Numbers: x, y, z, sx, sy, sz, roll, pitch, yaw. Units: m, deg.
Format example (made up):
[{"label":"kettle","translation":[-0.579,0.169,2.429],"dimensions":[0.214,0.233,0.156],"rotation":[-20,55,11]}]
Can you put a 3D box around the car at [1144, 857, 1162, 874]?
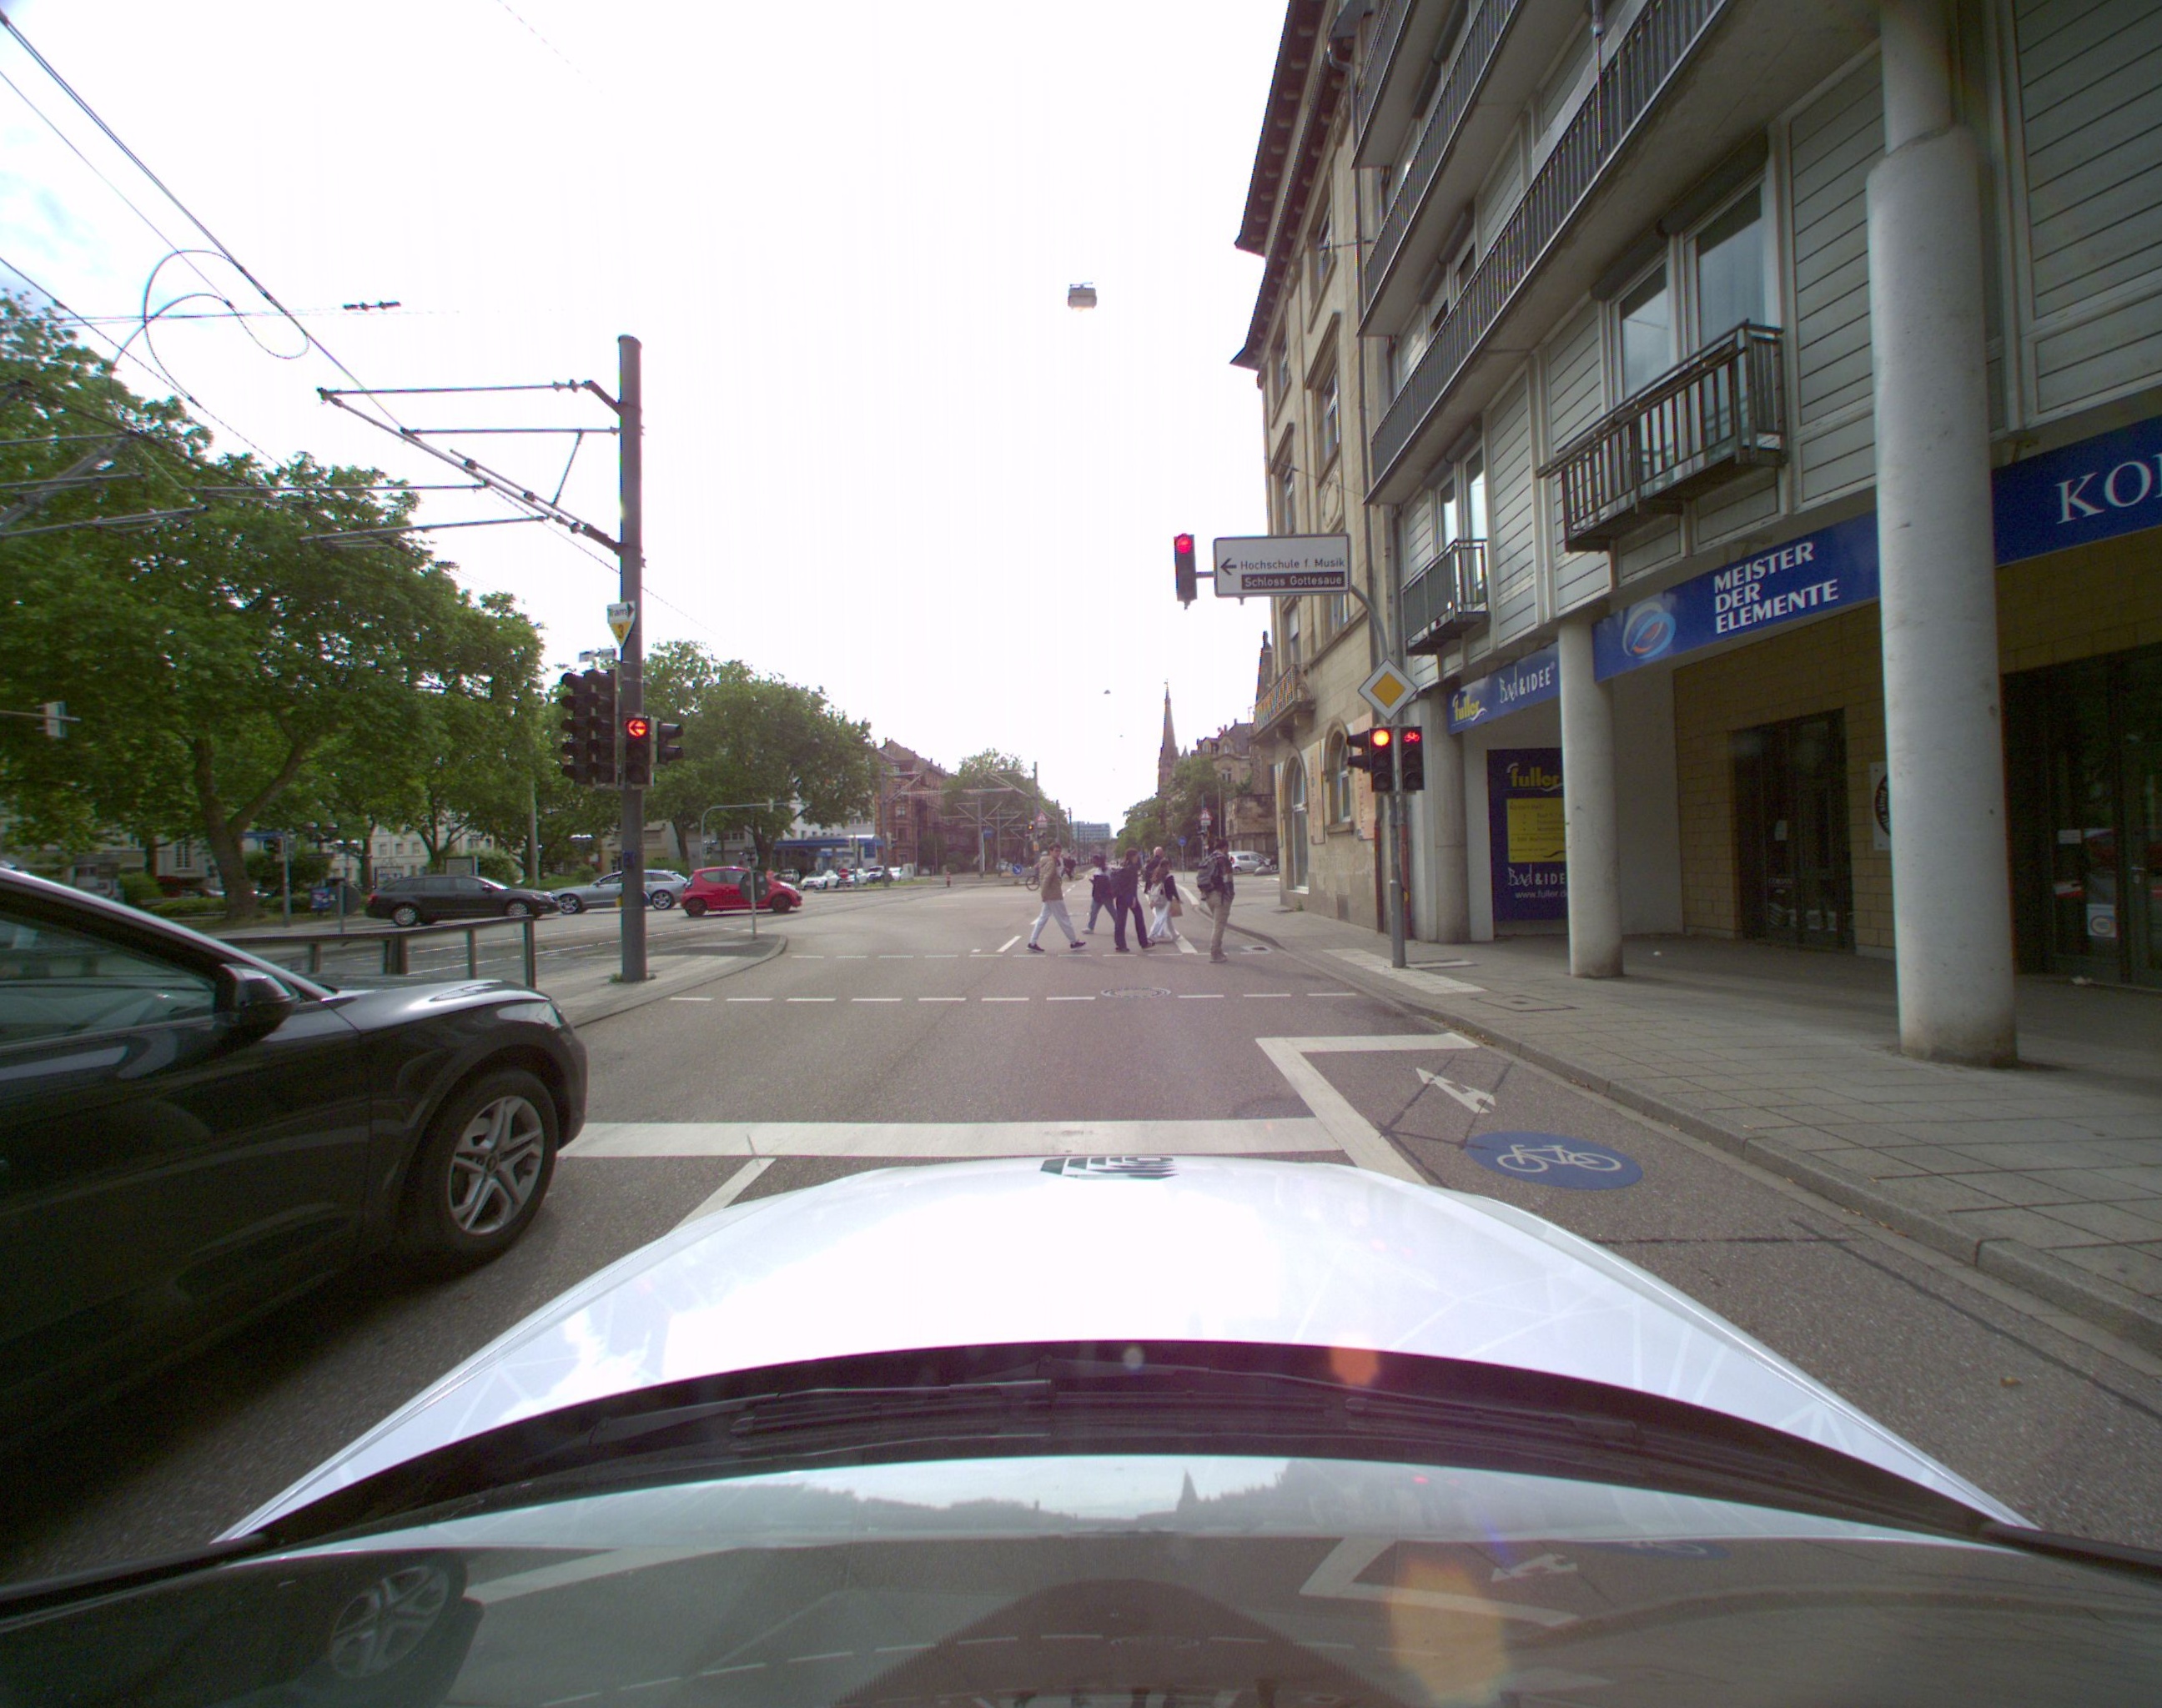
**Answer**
[{"label":"car","translation":[8.858,1.432,100.065],"dimensions":[1.986,2.014,4.001],"rotation":[0,-1,1]}]

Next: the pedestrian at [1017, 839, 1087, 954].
[{"label":"pedestrian","translation":[-0.482,0.677,13.313],"dimensions":[1.015,1.813,0.580],"rotation":[0,-1,-22]}]

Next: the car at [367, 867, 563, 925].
[{"label":"car","translation":[-18.232,1.204,24.382],"dimensions":[4.346,1.586,1.797],"rotation":[0,-1,-24]}]

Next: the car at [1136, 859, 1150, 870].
[{"label":"car","translation":[9.759,1.670,128.876],"dimensions":[1.986,1.607,4.165],"rotation":[-3,-1,1]}]

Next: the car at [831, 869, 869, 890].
[{"label":"car","translation":[-18.790,2.059,66.325],"dimensions":[1.887,1.557,3.837],"rotation":[0,-1,2]}]

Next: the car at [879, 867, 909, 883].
[{"label":"car","translation":[-18.395,2.043,80.290],"dimensions":[1.887,1.557,3.837],"rotation":[0,-1,2]}]

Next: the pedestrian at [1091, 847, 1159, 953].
[{"label":"pedestrian","translation":[0.725,0.725,13.285],"dimensions":[0.620,1.653,1.003],"rotation":[-1,-1,39]}]

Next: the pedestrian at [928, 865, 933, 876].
[{"label":"pedestrian","translation":[-21.517,2.350,116.558],"dimensions":[0.528,1.460,0.447],"rotation":[0,-1,-40]}]

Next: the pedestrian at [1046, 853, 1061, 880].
[{"label":"pedestrian","translation":[-1.692,0.772,50.248],"dimensions":[0.848,1.654,0.508],"rotation":[0,-1,-1]}]

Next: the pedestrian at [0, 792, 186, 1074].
[{"label":"pedestrian","translation":[-6.493,0.471,5.185],"dimensions":[0.751,1.661,0.730],"rotation":[0,-1,1]}]

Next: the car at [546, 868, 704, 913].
[{"label":"car","translation":[-16.386,1.266,29.532],"dimensions":[4.733,1.510,1.826],"rotation":[0,-1,-20]}]

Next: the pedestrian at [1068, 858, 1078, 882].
[{"label":"pedestrian","translation":[-0.522,1.001,52.396],"dimensions":[0.651,1.537,0.465],"rotation":[0,-1,-3]}]

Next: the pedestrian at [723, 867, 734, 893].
[{"label":"pedestrian","translation":[-25.223,1.856,58.261],"dimensions":[0.370,1.784,0.555],"rotation":[-1,-1,33]}]

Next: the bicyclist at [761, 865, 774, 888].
[{"label":"bicyclist","translation":[-21.584,1.566,56.090],"dimensions":[0.585,1.568,0.619],"rotation":[0,-1,1]}]

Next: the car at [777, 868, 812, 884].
[{"label":"car","translation":[-28.717,2.196,81.764],"dimensions":[1.986,1.530,4.001],"rotation":[0,-1,2]}]

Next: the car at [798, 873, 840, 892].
[{"label":"car","translation":[-19.231,2.087,59.944],"dimensions":[1.628,1.325,4.001],"rotation":[0,-1,2]}]

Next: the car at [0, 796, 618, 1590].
[{"label":"car","translation":[-3.126,0.697,1.587],"dimensions":[1.873,1.601,4.358],"rotation":[-1,-1,1]}]

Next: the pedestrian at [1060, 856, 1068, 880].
[{"label":"pedestrian","translation":[-1.119,0.921,52.960],"dimensions":[0.544,1.537,0.465],"rotation":[0,-1,-3]}]

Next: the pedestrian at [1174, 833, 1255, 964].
[{"label":"pedestrian","translation":[1.938,0.613,11.734],"dimensions":[0.620,1.779,1.141],"rotation":[-2,-2,39]}]

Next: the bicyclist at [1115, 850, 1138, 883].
[{"label":"bicyclist","translation":[2.308,0.632,41.324],"dimensions":[1.041,1.683,0.641],"rotation":[0,-1,-19]}]

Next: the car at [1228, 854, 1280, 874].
[{"label":"car","translation":[13.778,0.813,65.166],"dimensions":[3.785,1.601,2.001],"rotation":[0,-1,1]}]

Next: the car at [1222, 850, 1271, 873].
[{"label":"car","translation":[13.889,0.614,68.579],"dimensions":[3.785,1.904,2.001],"rotation":[0,-1,1]}]

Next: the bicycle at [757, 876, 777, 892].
[{"label":"bicycle","translation":[-21.557,2.071,55.918],"dimensions":[0.520,1.017,1.937],"rotation":[0,-1,2]}]

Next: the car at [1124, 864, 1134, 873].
[{"label":"car","translation":[10.195,3.076,172.430],"dimensions":[1.986,2.014,4.001],"rotation":[0,-1,2]}]

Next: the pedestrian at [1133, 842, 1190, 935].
[{"label":"pedestrian","translation":[1.594,0.663,16.162],"dimensions":[0.906,1.784,0.651],"rotation":[-1,-1,39]}]

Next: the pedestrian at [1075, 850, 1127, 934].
[{"label":"pedestrian","translation":[0.425,0.771,16.883],"dimensions":[0.663,1.680,0.874],"rotation":[-1,-1,40]}]

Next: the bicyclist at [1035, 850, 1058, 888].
[{"label":"bicyclist","translation":[-1.671,0.713,39.012],"dimensions":[0.970,1.819,0.527],"rotation":[0,-1,-27]}]

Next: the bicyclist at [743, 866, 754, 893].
[{"label":"bicyclist","translation":[-22.712,1.743,55.616],"dimensions":[0.528,1.784,0.472],"rotation":[-1,-1,21]}]

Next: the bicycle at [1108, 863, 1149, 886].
[{"label":"bicycle","translation":[2.397,1.036,41.387],"dimensions":[1.943,1.136,0.731],"rotation":[0,-1,-19]}]

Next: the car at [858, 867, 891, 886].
[{"label":"car","translation":[-18.563,2.008,73.253],"dimensions":[1.887,1.557,3.837],"rotation":[0,-1,2]}]

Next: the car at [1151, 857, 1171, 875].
[{"label":"car","translation":[8.839,1.327,90.485],"dimensions":[1.986,2.014,4.001],"rotation":[0,-1,1]}]

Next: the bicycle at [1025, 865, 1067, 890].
[{"label":"bicycle","translation":[-1.671,1.120,38.988],"dimensions":[1.910,1.142,0.623],"rotation":[0,-1,-28]}]

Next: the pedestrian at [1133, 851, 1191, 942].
[{"label":"pedestrian","translation":[1.488,0.755,14.864],"dimensions":[0.693,1.593,0.836],"rotation":[-1,-1,39]}]
